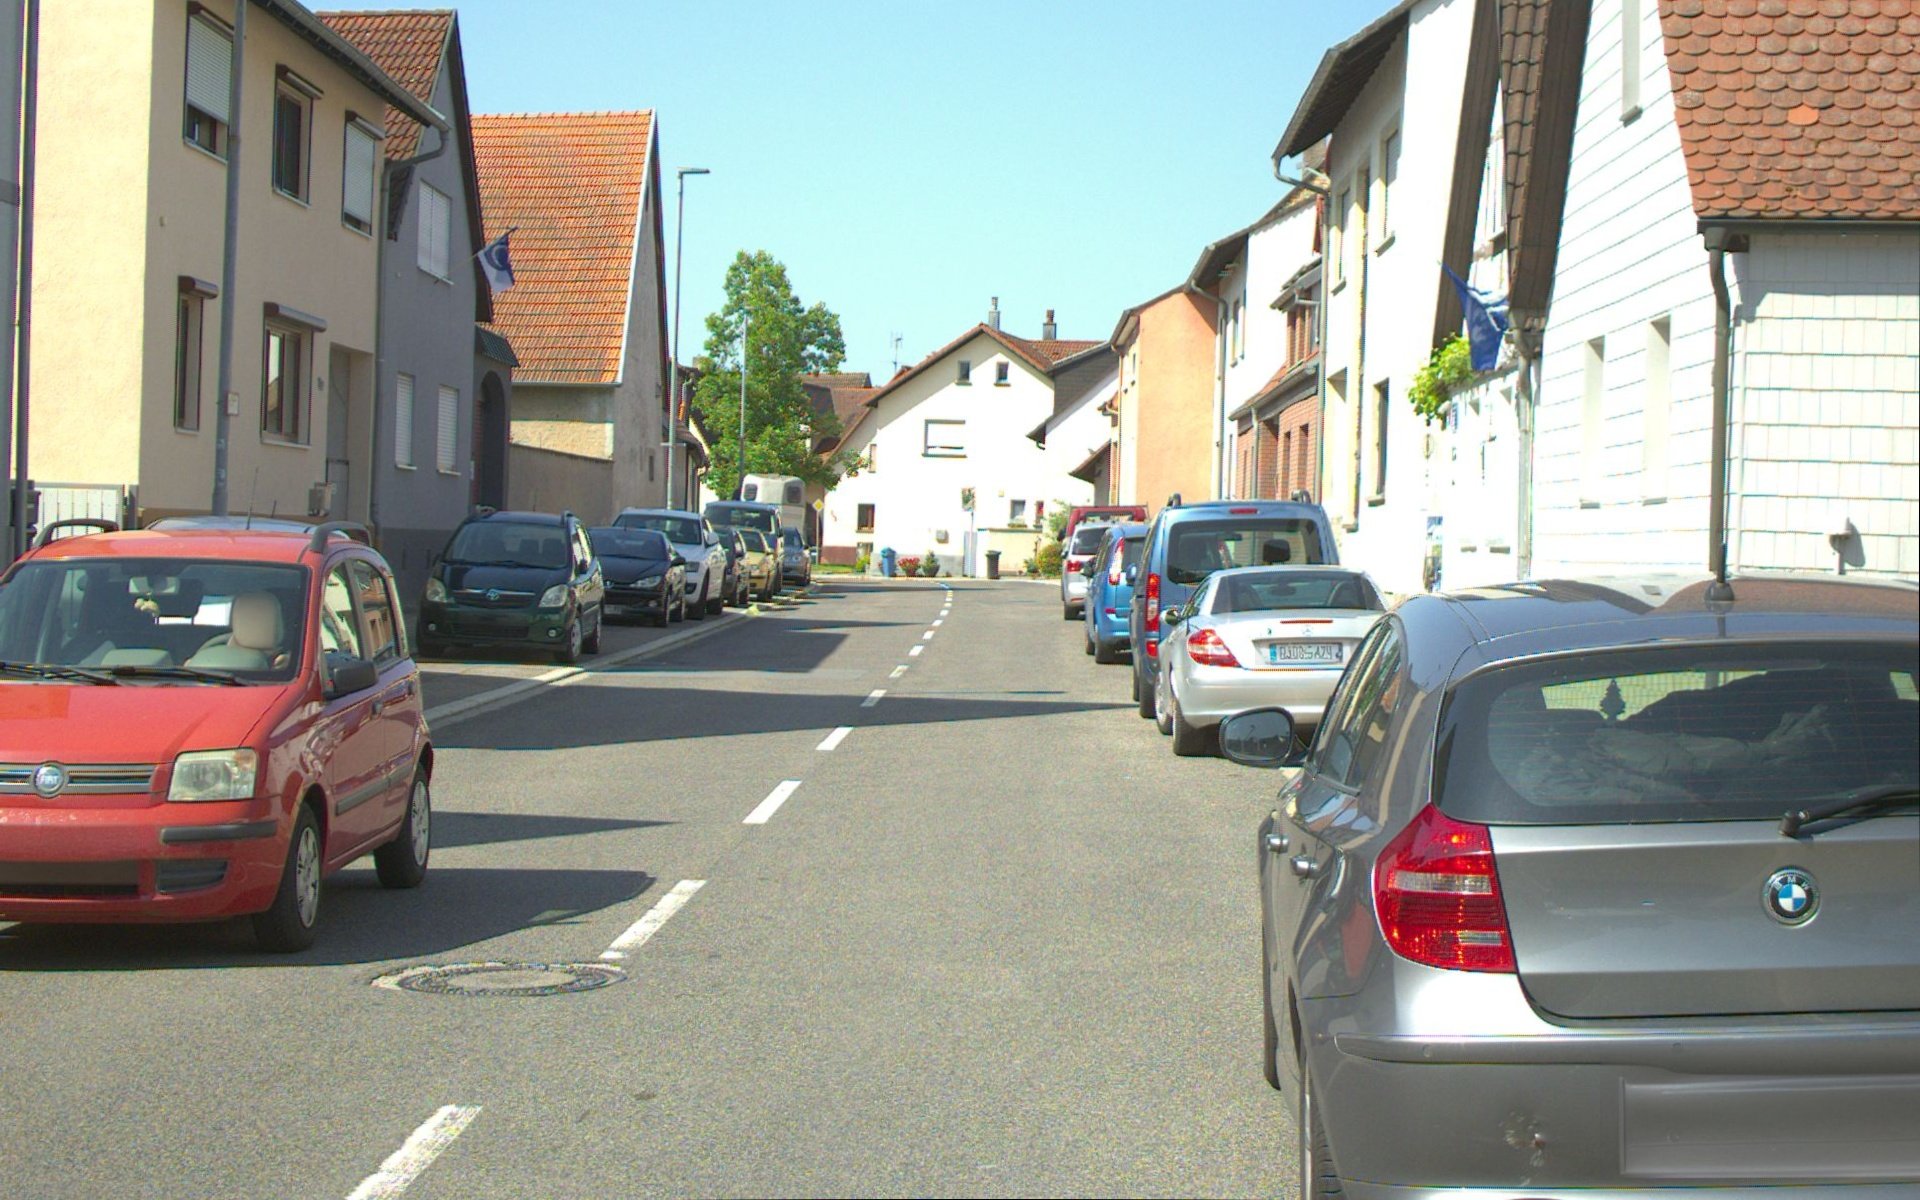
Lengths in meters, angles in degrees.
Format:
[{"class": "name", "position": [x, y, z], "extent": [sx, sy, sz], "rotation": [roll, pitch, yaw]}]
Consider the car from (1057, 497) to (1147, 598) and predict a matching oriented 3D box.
[{"class": "car", "position": [2.935, -1.070, 71.201], "extent": [1.767, 1.997, 3.450], "rotation": [1, 0, 2]}]

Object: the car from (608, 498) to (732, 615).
[{"class": "car", "position": [-4.526, -0.694, 54.103], "extent": [1.527, 1.707, 3.626], "rotation": [3, 1, 1]}]

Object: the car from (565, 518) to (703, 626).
[{"class": "car", "position": [-4.612, -0.400, 49.027], "extent": [1.504, 1.448, 3.509], "rotation": [1, 0, 2]}]

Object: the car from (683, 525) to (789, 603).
[{"class": "car", "position": [-4.356, -0.703, 67.331], "extent": [1.754, 1.437, 4.000], "rotation": [1, 0, 0]}]

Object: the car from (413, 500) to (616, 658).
[{"class": "car", "position": [-4.854, -0.251, 37.910], "extent": [1.619, 1.572, 3.961], "rotation": [3, 1, 1]}]

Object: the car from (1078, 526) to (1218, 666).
[{"class": "car", "position": [2.173, -0.070, 40.363], "extent": [1.420, 1.510, 3.304], "rotation": [3, 1, 1]}]

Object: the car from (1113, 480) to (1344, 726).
[{"class": "car", "position": [2.240, -0.003, 29.489], "extent": [1.649, 1.903, 3.626], "rotation": [3, 1, 1]}]

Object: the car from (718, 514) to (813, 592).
[{"class": "car", "position": [-4.221, -1.014, 74.930], "extent": [1.754, 1.619, 4.000], "rotation": [1, 0, 1]}]

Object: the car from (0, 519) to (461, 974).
[{"class": "car", "position": [-3.069, 0.460, 13.472], "extent": [1.601, 1.484, 3.626], "rotation": [3, 1, 1]}]

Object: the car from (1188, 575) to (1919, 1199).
[{"class": "car", "position": [1.485, 0.675, 7.847], "extent": [1.704, 1.428, 3.889], "rotation": [0, 1, 1]}]

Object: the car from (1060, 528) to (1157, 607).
[{"class": "car", "position": [2.833, -0.615, 65.745], "extent": [1.767, 1.428, 3.450], "rotation": [1, 0, 2]}]

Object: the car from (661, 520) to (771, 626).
[{"class": "car", "position": [-4.199, -0.486, 59.479], "extent": [1.527, 1.707, 3.626], "rotation": [3, 1, 1]}]

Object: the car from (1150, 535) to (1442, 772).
[{"class": "car", "position": [2.321, 0.327, 24.507], "extent": [1.704, 1.491, 3.452], "rotation": [3, 1, 1]}]

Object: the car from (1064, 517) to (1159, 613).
[{"class": "car", "position": [2.529, -0.602, 58.059], "extent": [1.420, 1.510, 3.304], "rotation": [3, 1, 1]}]

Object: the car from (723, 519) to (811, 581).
[{"class": "car", "position": [-4.722, -1.220, 84.441], "extent": [1.754, 1.437, 4.000], "rotation": [1, 0, 2]}]

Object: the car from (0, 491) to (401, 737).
[{"class": "car", "position": [-5.434, 0.060, 24.950], "extent": [1.806, 1.542, 4.403], "rotation": [3, 1, 2]}]
